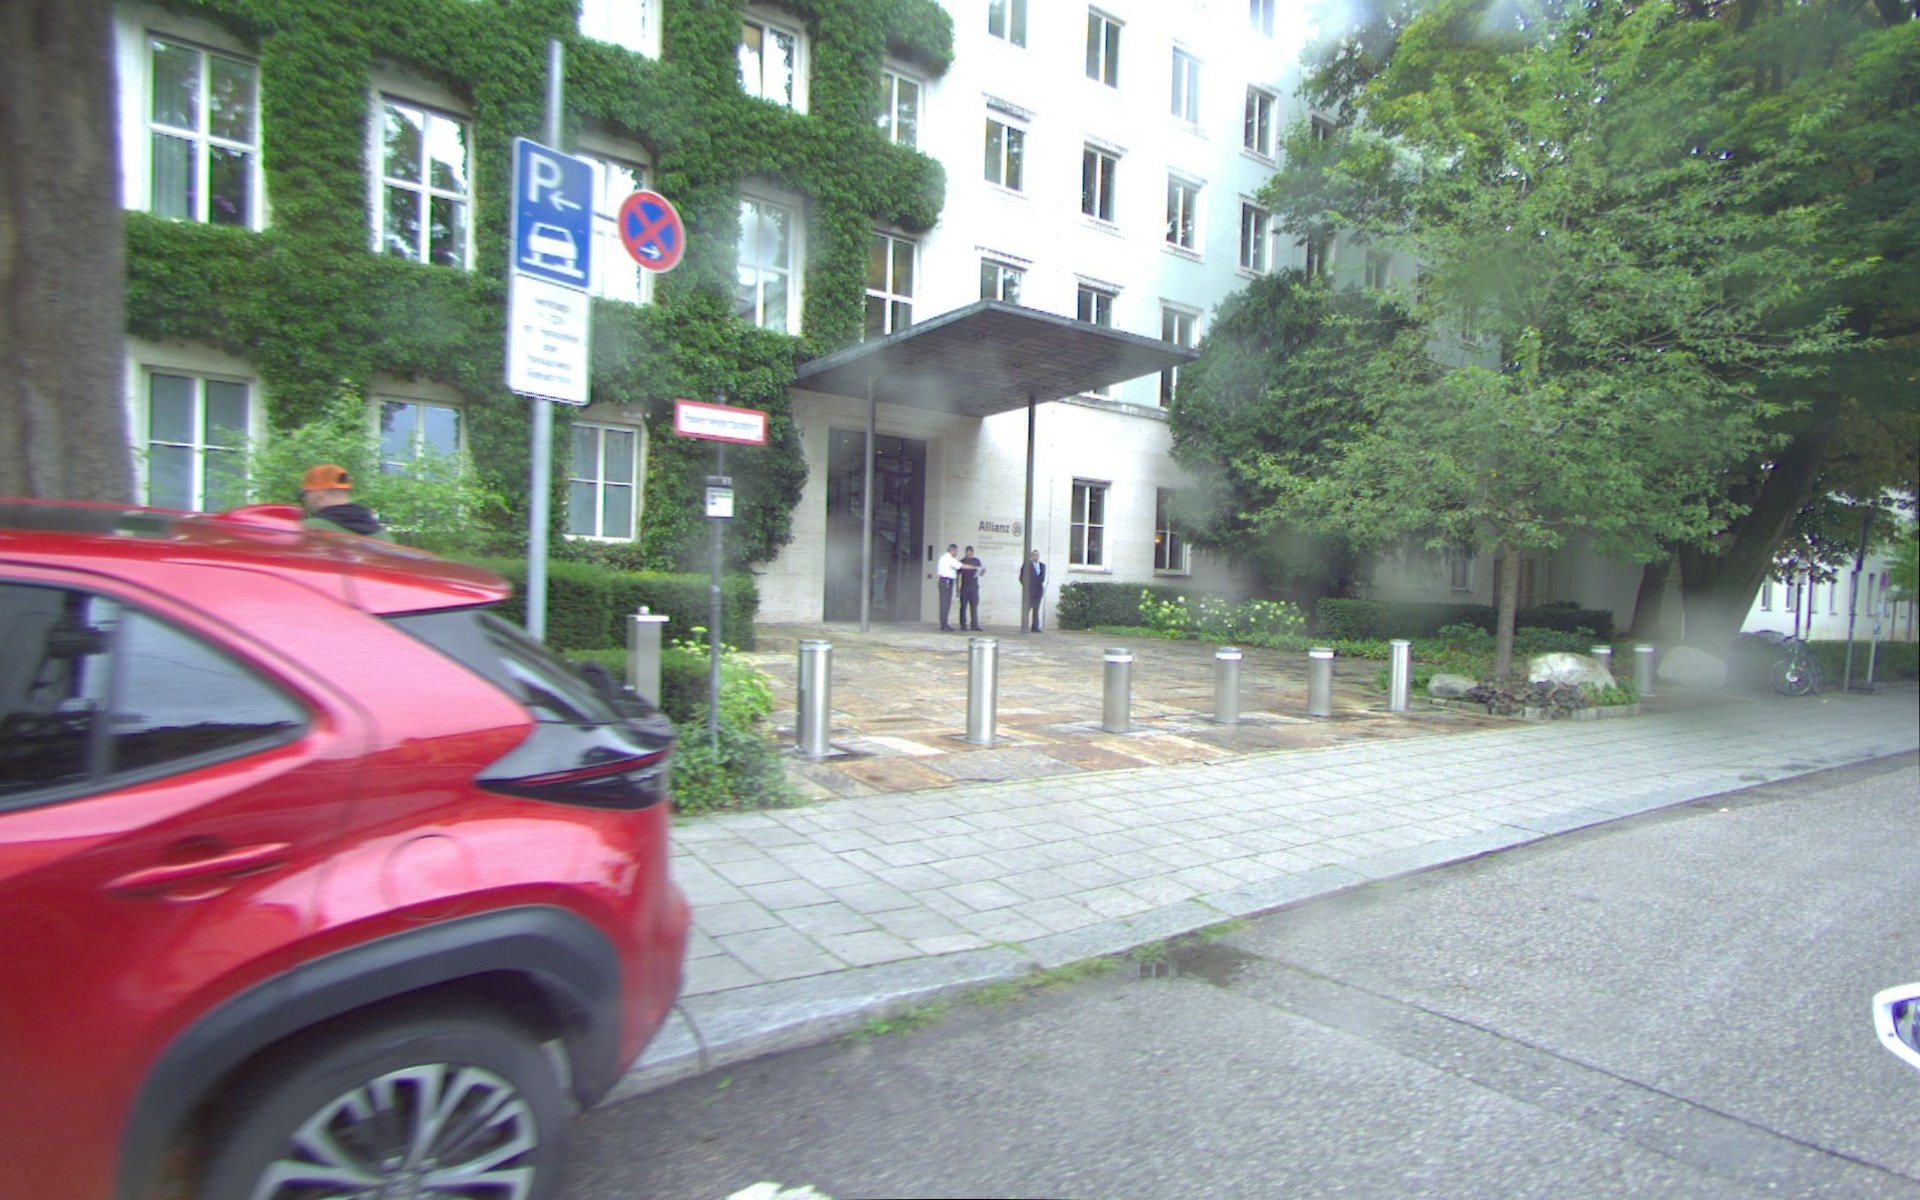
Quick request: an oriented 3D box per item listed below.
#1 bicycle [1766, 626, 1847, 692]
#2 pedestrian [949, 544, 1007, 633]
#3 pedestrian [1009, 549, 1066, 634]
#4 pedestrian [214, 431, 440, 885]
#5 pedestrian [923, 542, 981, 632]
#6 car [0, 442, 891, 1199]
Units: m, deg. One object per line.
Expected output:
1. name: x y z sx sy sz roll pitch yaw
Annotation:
1. bicycle: 15.456 1.069 18.324 1.749 1.117 0.629 2 2 -34
2. pedestrian: 0.374 -0.235 20.988 0.894 1.776 0.744 2 0 -40
3. pedestrian: 1.677 -0.176 21.686 0.894 1.776 0.744 2 0 -40
4. pedestrian: -2.951 0.237 4.670 0.790 1.877 0.707 1 2 -37
5. pedestrian: -0.170 -0.260 20.276 0.746 1.776 0.891 1 1 -39
6. car: -2.521 0.516 1.768 4.488 1.611 1.872 1 2 -39
